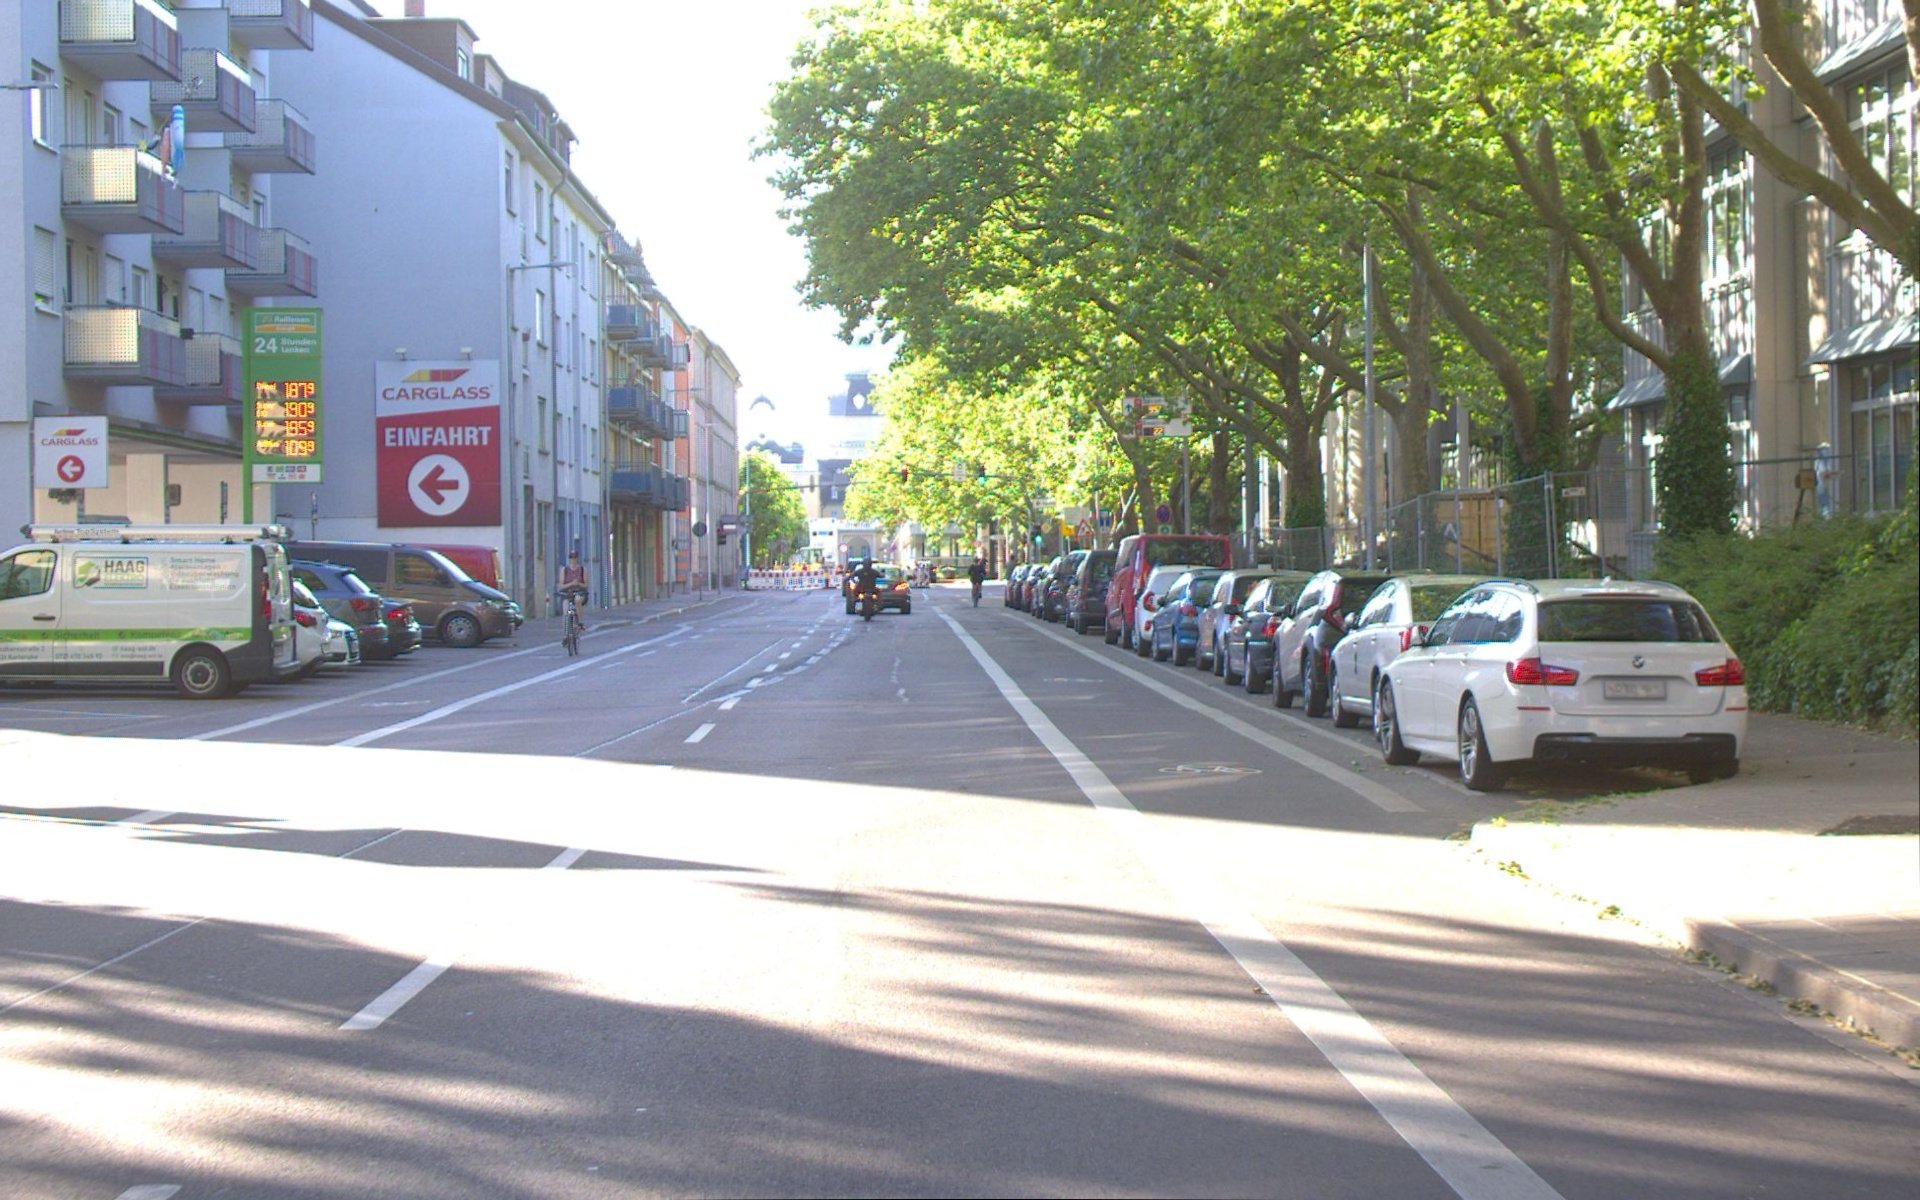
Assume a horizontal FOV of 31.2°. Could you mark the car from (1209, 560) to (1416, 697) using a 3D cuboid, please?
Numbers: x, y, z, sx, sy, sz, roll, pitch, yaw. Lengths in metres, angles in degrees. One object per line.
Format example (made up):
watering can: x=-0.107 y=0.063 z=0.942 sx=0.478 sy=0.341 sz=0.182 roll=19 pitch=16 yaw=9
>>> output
car: x=4.239 y=0.303 z=42.002 sx=1.855 sy=1.517 sz=4.599 roll=2 pitch=1 yaw=-2

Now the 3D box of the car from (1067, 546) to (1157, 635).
car: x=3.204 y=-0.218 z=73.183 sx=1.693 sy=1.806 sz=4.130 roll=2 pitch=1 yaw=0

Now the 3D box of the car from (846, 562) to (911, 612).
car: x=-2.373 y=-0.400 z=99.555 sx=1.828 sy=1.415 sz=3.815 roll=0 pitch=1 yaw=-2

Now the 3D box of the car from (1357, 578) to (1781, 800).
car: x=4.302 y=0.573 z=25.121 sx=1.855 sy=1.432 sz=4.971 roll=0 pitch=1 yaw=-4

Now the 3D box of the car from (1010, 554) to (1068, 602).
car: x=2.498 y=-0.721 z=109.984 sx=1.693 sy=1.461 sz=4.065 roll=2 pitch=1 yaw=0

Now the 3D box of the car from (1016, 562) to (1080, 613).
car: x=2.655 y=-0.385 z=104.310 sx=1.693 sy=1.474 sz=4.319 roll=2 pitch=1 yaw=-1

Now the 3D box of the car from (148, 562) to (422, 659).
car: x=-10.696 y=0.156 z=54.653 sx=3.987 sy=1.451 sz=1.916 roll=1 pitch=1 yaw=-1

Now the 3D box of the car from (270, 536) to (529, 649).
car: x=-10.584 y=-0.158 z=65.136 sx=4.522 sy=1.945 sz=2.057 roll=2 pitch=1 yaw=-1

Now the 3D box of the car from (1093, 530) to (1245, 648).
car: x=3.700 y=-0.217 z=61.811 sx=2.078 sy=1.987 sz=5.172 roll=2 pitch=1 yaw=-3

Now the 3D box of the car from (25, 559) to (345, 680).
car: x=-10.616 y=0.249 z=47.304 sx=3.987 sy=1.554 sz=1.853 roll=1 pitch=1 yaw=-1

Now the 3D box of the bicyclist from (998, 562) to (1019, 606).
bicyclist: x=1.718 y=-0.568 z=122.371 sx=0.656 sy=1.525 sz=0.906 roll=1 pitch=0 yaw=-2

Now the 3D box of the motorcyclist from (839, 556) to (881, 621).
motorcyclist: x=-2.502 y=-0.285 z=85.876 sx=1.012 sy=1.597 sz=1.406 roll=-1 pitch=1 yaw=-2

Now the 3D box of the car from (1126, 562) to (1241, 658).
car: x=3.661 y=0.142 z=56.782 sx=1.637 sy=1.480 sz=3.759 roll=2 pitch=1 yaw=0

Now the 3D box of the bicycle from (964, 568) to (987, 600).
bicycle: x=0.506 y=-0.529 z=114.290 sx=0.656 sy=1.066 sz=1.927 roll=1 pitch=0 yaw=-2

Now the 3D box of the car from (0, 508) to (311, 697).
car: x=-10.700 y=0.008 z=42.756 sx=4.844 sy=2.209 sz=2.140 roll=1 pitch=0 yaw=-1

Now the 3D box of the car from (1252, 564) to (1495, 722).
car: x=4.252 y=0.398 z=35.971 sx=1.855 sy=1.517 sz=4.297 roll=1 pitch=1 yaw=-2

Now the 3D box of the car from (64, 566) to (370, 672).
car: x=-10.620 y=0.258 z=49.343 sx=3.987 sy=1.428 sz=1.853 roll=1 pitch=1 yaw=-1

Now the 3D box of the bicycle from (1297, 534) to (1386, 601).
bicycle: x=11.665 y=-0.991 z=105.139 sx=2.597 sy=2.007 sz=0.742 roll=-1 pitch=1 yaw=-1

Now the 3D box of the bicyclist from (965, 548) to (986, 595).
bicyclist: x=0.515 y=-0.938 z=114.243 sx=0.656 sy=1.525 sz=0.852 roll=1 pitch=0 yaw=-2

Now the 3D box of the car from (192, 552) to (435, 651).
car: x=-10.697 y=0.009 z=57.074 sx=3.685 sy=1.508 sz=1.831 roll=2 pitch=0 yaw=-1

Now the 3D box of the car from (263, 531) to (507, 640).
car: x=-11.316 y=-0.296 z=67.863 sx=4.421 sy=1.945 sz=2.146 roll=2 pitch=1 yaw=-1

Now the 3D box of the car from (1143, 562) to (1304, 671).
car: x=3.976 y=0.215 z=52.434 sx=1.855 sy=1.505 sz=3.930 roll=2 pitch=1 yaw=-4

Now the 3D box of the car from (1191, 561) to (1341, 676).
car: x=4.241 y=0.228 z=48.041 sx=1.613 sy=1.470 sz=3.493 roll=2 pitch=1 yaw=-2

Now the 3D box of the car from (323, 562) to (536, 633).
car: x=-11.277 y=-0.055 z=73.331 sx=4.228 sy=1.375 sz=2.046 roll=1 pitch=0 yaw=-1

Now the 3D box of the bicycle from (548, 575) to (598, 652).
bicycle: x=-6.553 y=0.220 z=58.254 sx=0.607 sy=1.235 sz=2.050 roll=-2 pitch=1 yaw=-1

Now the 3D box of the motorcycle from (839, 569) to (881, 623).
motorcycle: x=-2.506 y=-0.108 z=85.772 sx=1.012 sy=1.302 sz=2.673 roll=-1 pitch=1 yaw=-2

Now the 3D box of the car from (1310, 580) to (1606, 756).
car: x=4.427 y=0.560 z=31.233 sx=1.855 sy=1.432 sz=4.603 roll=1 pitch=1 yaw=-2

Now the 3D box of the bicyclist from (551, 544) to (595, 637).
bicyclist: x=-6.590 y=-0.165 z=58.561 sx=0.607 sy=1.539 sz=0.934 roll=-2 pitch=1 yaw=-1

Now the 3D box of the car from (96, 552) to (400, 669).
car: x=-10.740 y=0.147 z=52.083 sx=4.194 sy=1.678 sz=2.028 roll=1 pitch=0 yaw=-1
